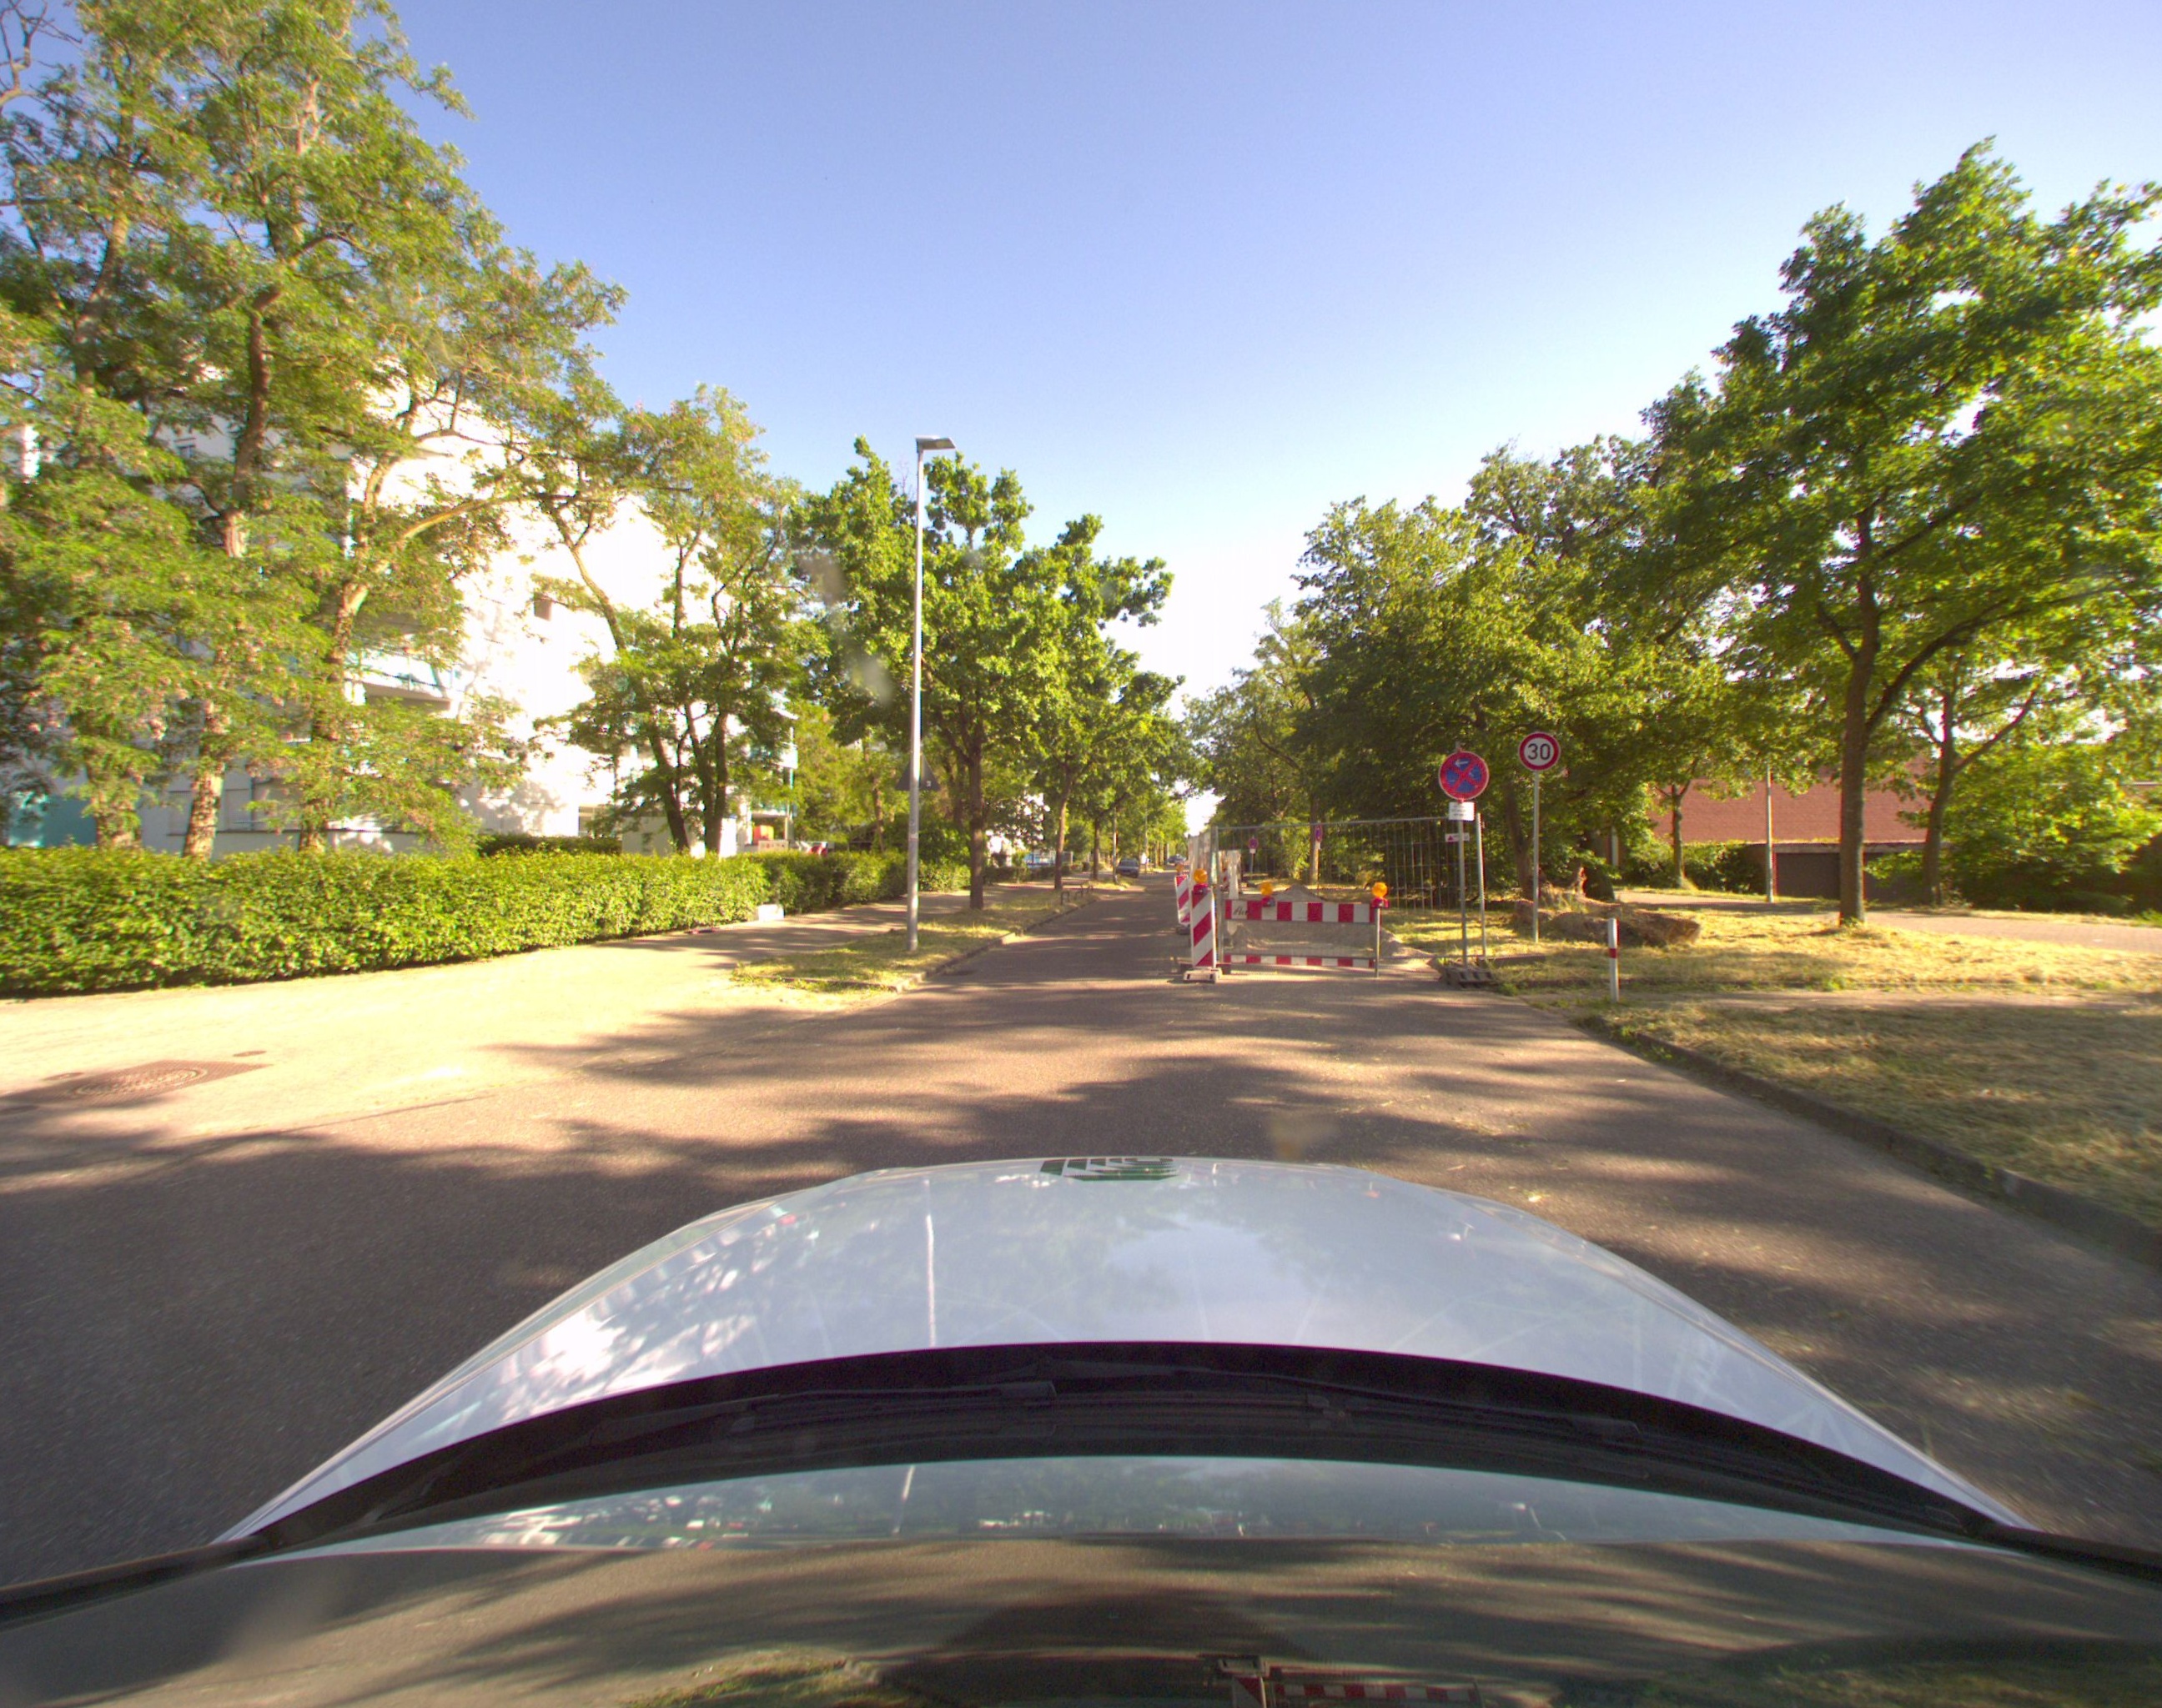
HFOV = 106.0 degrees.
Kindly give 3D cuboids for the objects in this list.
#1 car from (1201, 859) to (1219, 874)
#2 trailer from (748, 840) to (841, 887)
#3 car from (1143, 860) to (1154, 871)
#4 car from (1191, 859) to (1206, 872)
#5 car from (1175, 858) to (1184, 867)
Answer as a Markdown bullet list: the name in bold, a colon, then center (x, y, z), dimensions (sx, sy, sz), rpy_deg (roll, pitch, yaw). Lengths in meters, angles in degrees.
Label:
- **car**: center (11.762, 1.154, 74.470), dimensions (1.355, 1.302, 3.486), rpy_deg (1, -1, 5)
- **trailer**: center (-13.265, 0.428, 38.011), dimensions (1.962, 2.043, 4.447), rpy_deg (0, 0, 14)
- **car**: center (8.379, 1.408, 100.642), dimensions (1.355, 1.302, 3.486), rpy_deg (1, -1, 5)
- **car**: center (12.624, 1.253, 87.455), dimensions (1.355, 1.302, 3.486), rpy_deg (1, -1, 5)
- **car**: center (19.745, 1.727, 163.598), dimensions (1.703, 1.585, 4.004), rpy_deg (1, -1, 4)
